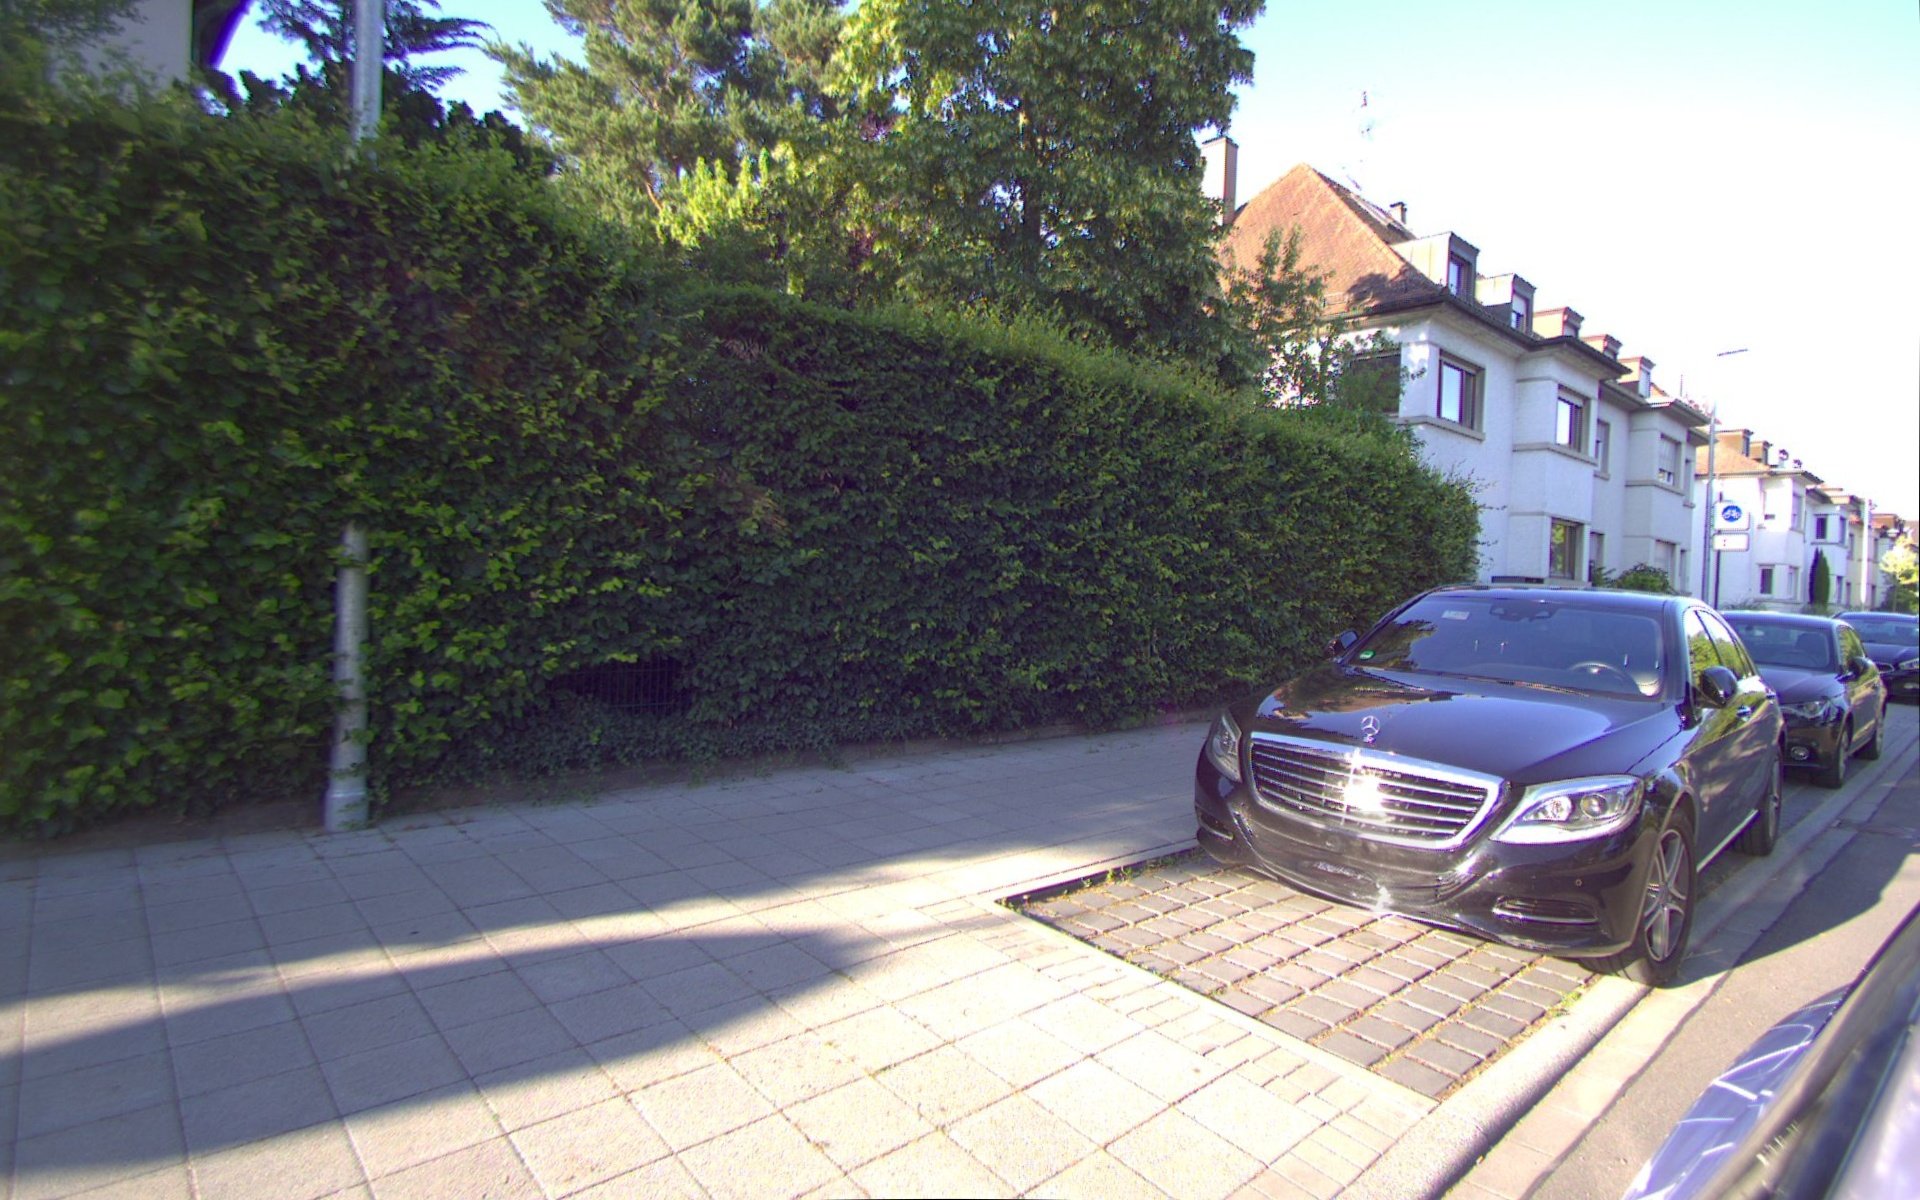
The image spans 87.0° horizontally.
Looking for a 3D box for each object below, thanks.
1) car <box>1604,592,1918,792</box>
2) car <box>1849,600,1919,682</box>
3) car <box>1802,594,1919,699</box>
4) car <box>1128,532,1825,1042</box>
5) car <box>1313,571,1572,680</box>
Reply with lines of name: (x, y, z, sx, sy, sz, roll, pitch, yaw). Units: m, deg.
car: (7.771, 0.720, 9.691, 3.868, 1.445, 1.644, 1, 3, -42)
car: (19.887, 0.831, 20.993, 3.916, 1.489, 1.721, 1, 4, -43)
car: (16.038, 0.748, 17.437, 4.183, 1.492, 1.750, 1, 5, -43)
car: (3.134, 0.550, 5.488, 4.792, 1.561, 1.861, 0, 3, -44)
car: (8.313, 0.359, 17.623, 3.637, 1.514, 1.752, 6, 4, 45)
